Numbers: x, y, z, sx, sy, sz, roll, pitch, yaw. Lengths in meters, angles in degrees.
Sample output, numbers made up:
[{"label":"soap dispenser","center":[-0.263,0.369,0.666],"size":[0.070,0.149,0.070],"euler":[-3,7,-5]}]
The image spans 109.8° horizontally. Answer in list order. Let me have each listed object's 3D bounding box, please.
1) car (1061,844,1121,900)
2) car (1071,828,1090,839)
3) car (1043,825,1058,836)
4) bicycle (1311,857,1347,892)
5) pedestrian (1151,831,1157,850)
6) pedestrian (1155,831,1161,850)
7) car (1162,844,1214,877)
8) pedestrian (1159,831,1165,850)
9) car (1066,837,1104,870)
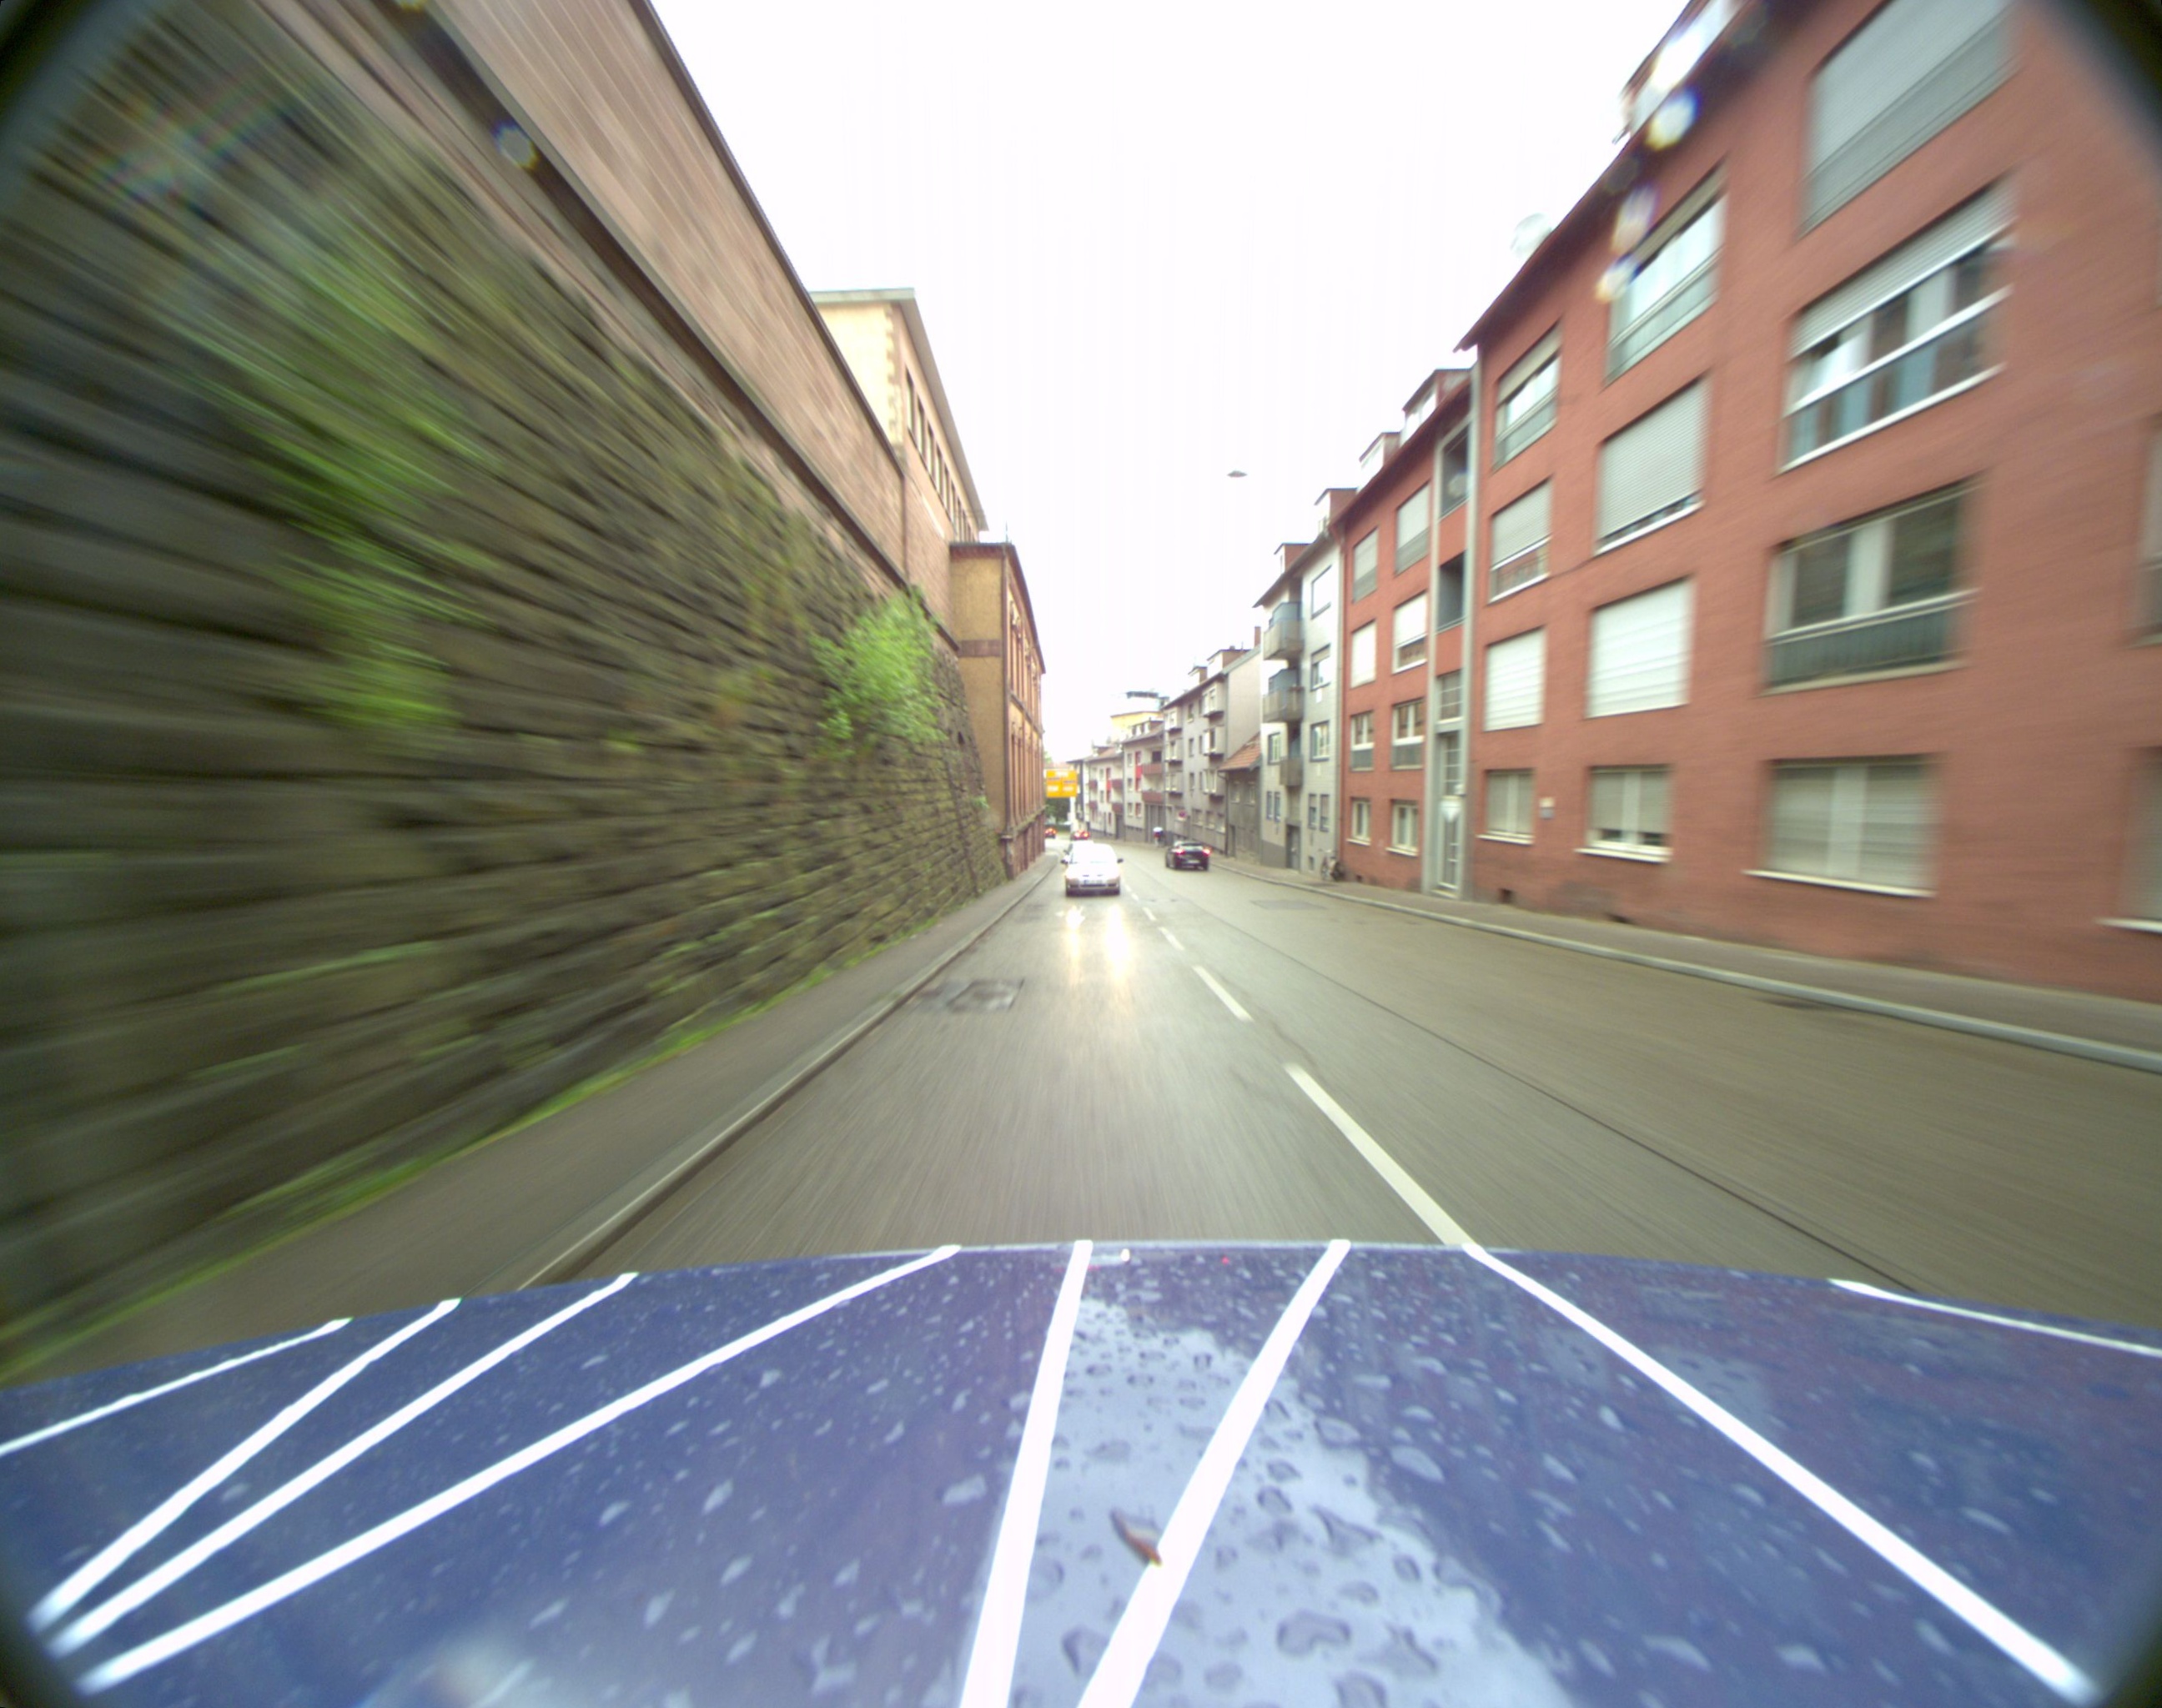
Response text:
[{"label":"car","center":[0.302,0.504,24.401],"size":[1.720,1.528,3.998],"euler":[-2,2,0]},{"label":"car","center":[-0.064,-2.601,97.307],"size":[1.715,1.317,3.366],"euler":[-3,2,-12]},{"label":"car","center":[-4.877,-3.757,120.218],"size":[1.835,1.694,4.072],"euler":[-3,2,-9]},{"label":"bicycle","center":[8.754,0.698,26.897],"size":[0.572,1.110,2.039],"euler":[-3,2,1]},{"label":"pedestrian","center":[6.746,-1.238,70.199],"size":[0.387,1.770,0.499],"euler":[-3,3,-9]},{"label":"pedestrian","center":[7.154,-1.257,70.254],"size":[0.381,1.770,0.499],"euler":[-3,3,-9]},{"label":"car","center":[5.349,0.282,38.517],"size":[1.999,1.470,3.998],"euler":[2,2,0]},{"label":"pedestrian","center":[7.528,-1.260,70.308],"size":[0.355,1.770,0.499],"euler":[-3,3,-9]},{"label":"car","center":[0.183,-0.063,39.988],"size":[1.720,1.528,3.997],"euler":[-2,2,-3]}]
